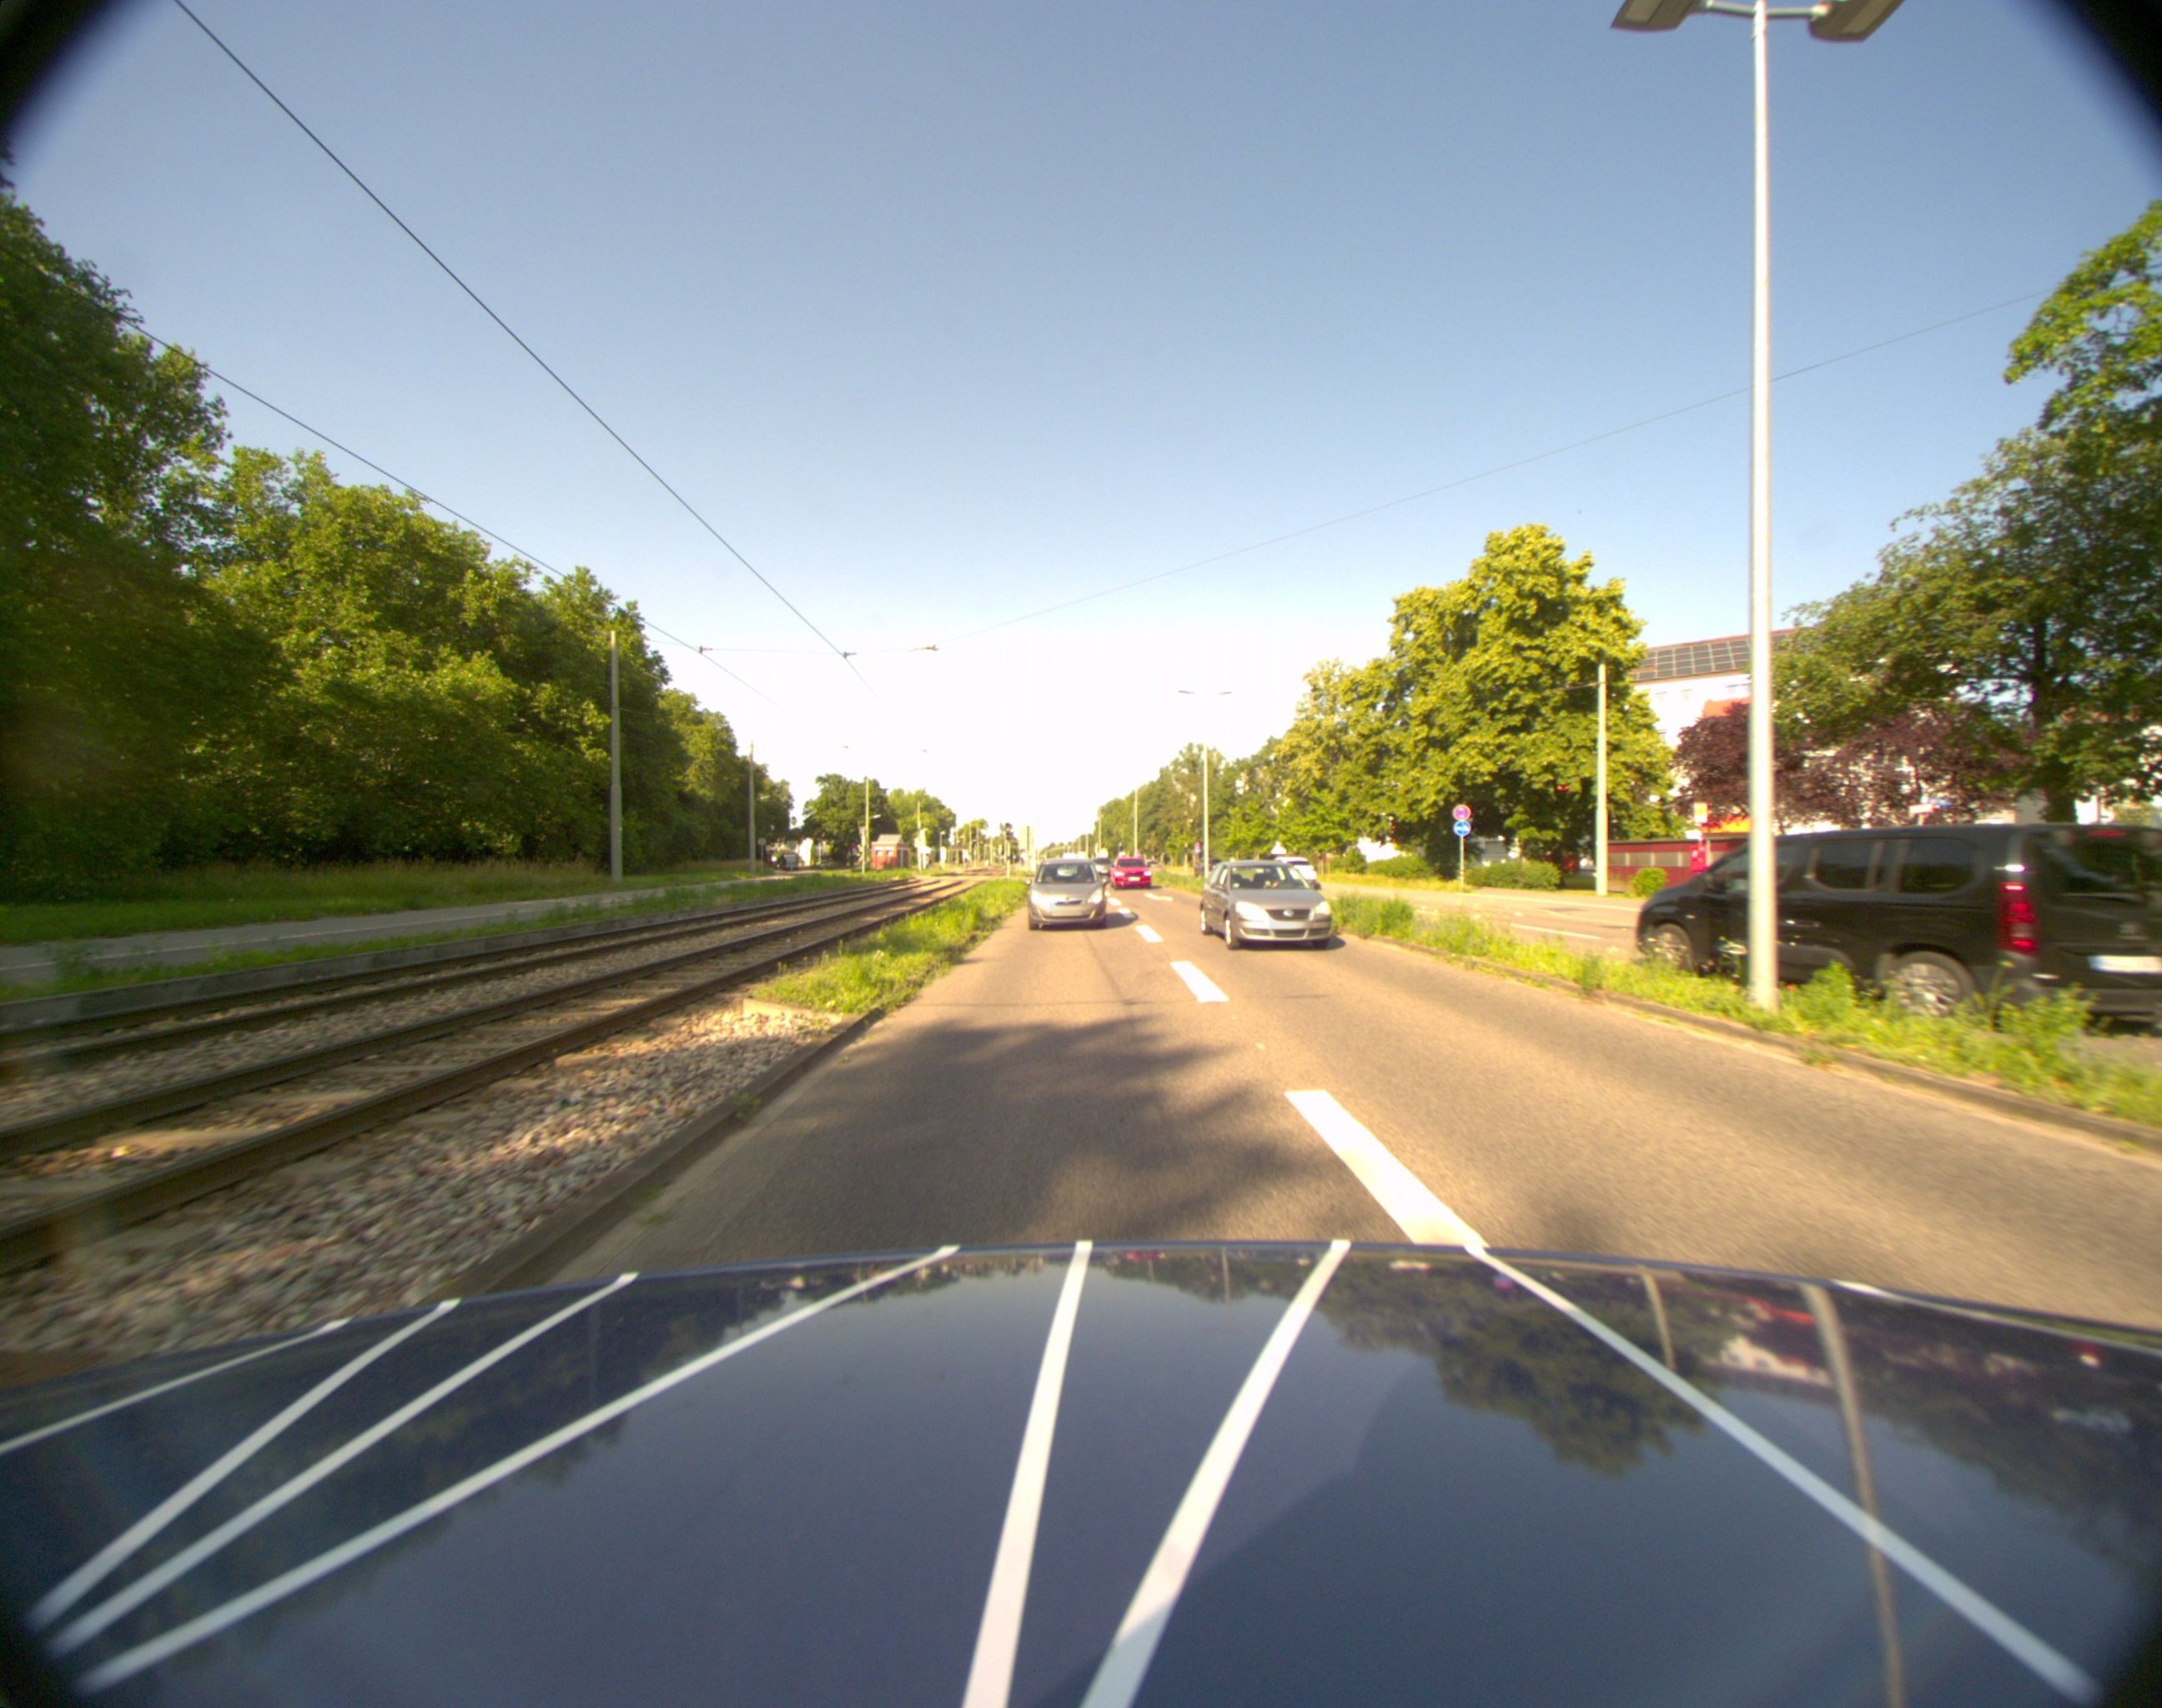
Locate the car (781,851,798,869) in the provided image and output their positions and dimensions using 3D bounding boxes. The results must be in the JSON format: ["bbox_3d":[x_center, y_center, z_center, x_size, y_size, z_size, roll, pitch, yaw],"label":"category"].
[{"bbox_3d":[-44.098,0.923,115.001,1.863,2.506,3.853,-3,0,-27],"label":"car"}]

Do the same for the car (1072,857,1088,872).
[{"bbox_3d":[-0.122,1.259,91.006,1.774,1.669,4.048,1,0,-2],"label":"car"}]

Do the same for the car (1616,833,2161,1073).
[{"bbox_3d":[8.013,0.741,7.852,1.794,1.773,4.480,0,0,0],"label":"car"}]

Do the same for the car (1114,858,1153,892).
[{"bbox_3d":[2.601,1.009,38.334,1.692,1.573,3.833,-1,0,0],"label":"car"}]

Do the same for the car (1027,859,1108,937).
[{"bbox_3d":[-0.301,0.935,17.856,1.650,1.581,3.833,-2,0,-1],"label":"car"}]

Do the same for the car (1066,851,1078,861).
[{"bbox_3d":[-1.450,0.327,121.781,1.710,1.513,3.832,-1,0,-2],"label":"car"}]

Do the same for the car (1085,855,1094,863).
[{"bbox_3d":[1.796,1.093,168.775,1.774,1.669,4.048,1,0,-2],"label":"car"}]

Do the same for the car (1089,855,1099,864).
[{"bbox_3d":[2.534,1.042,151.918,1.774,1.669,4.048,1,0,-2],"label":"car"}]

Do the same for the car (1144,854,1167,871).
[{"bbox_3d":[7.552,0.872,77.513,1.774,1.669,4.048,1,0,-2],"label":"car"}]

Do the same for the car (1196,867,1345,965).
[{"bbox_3d":[3.188,0.980,13.533,1.692,1.420,3.833,-1,0,0],"label":"car"}]

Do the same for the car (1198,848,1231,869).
[{"bbox_3d":[10.659,0.365,60.880,1.774,1.669,4.048,0,0,-2],"label":"car"}]

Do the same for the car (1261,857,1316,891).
[{"bbox_3d":[10.869,0.992,40.083,1.664,1.669,4.515,1,0,0],"label":"car"}]

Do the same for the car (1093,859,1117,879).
[{"bbox_3d":[1.900,1.160,60.860,1.710,1.513,3.832,-1,0,-2],"label":"car"}]
